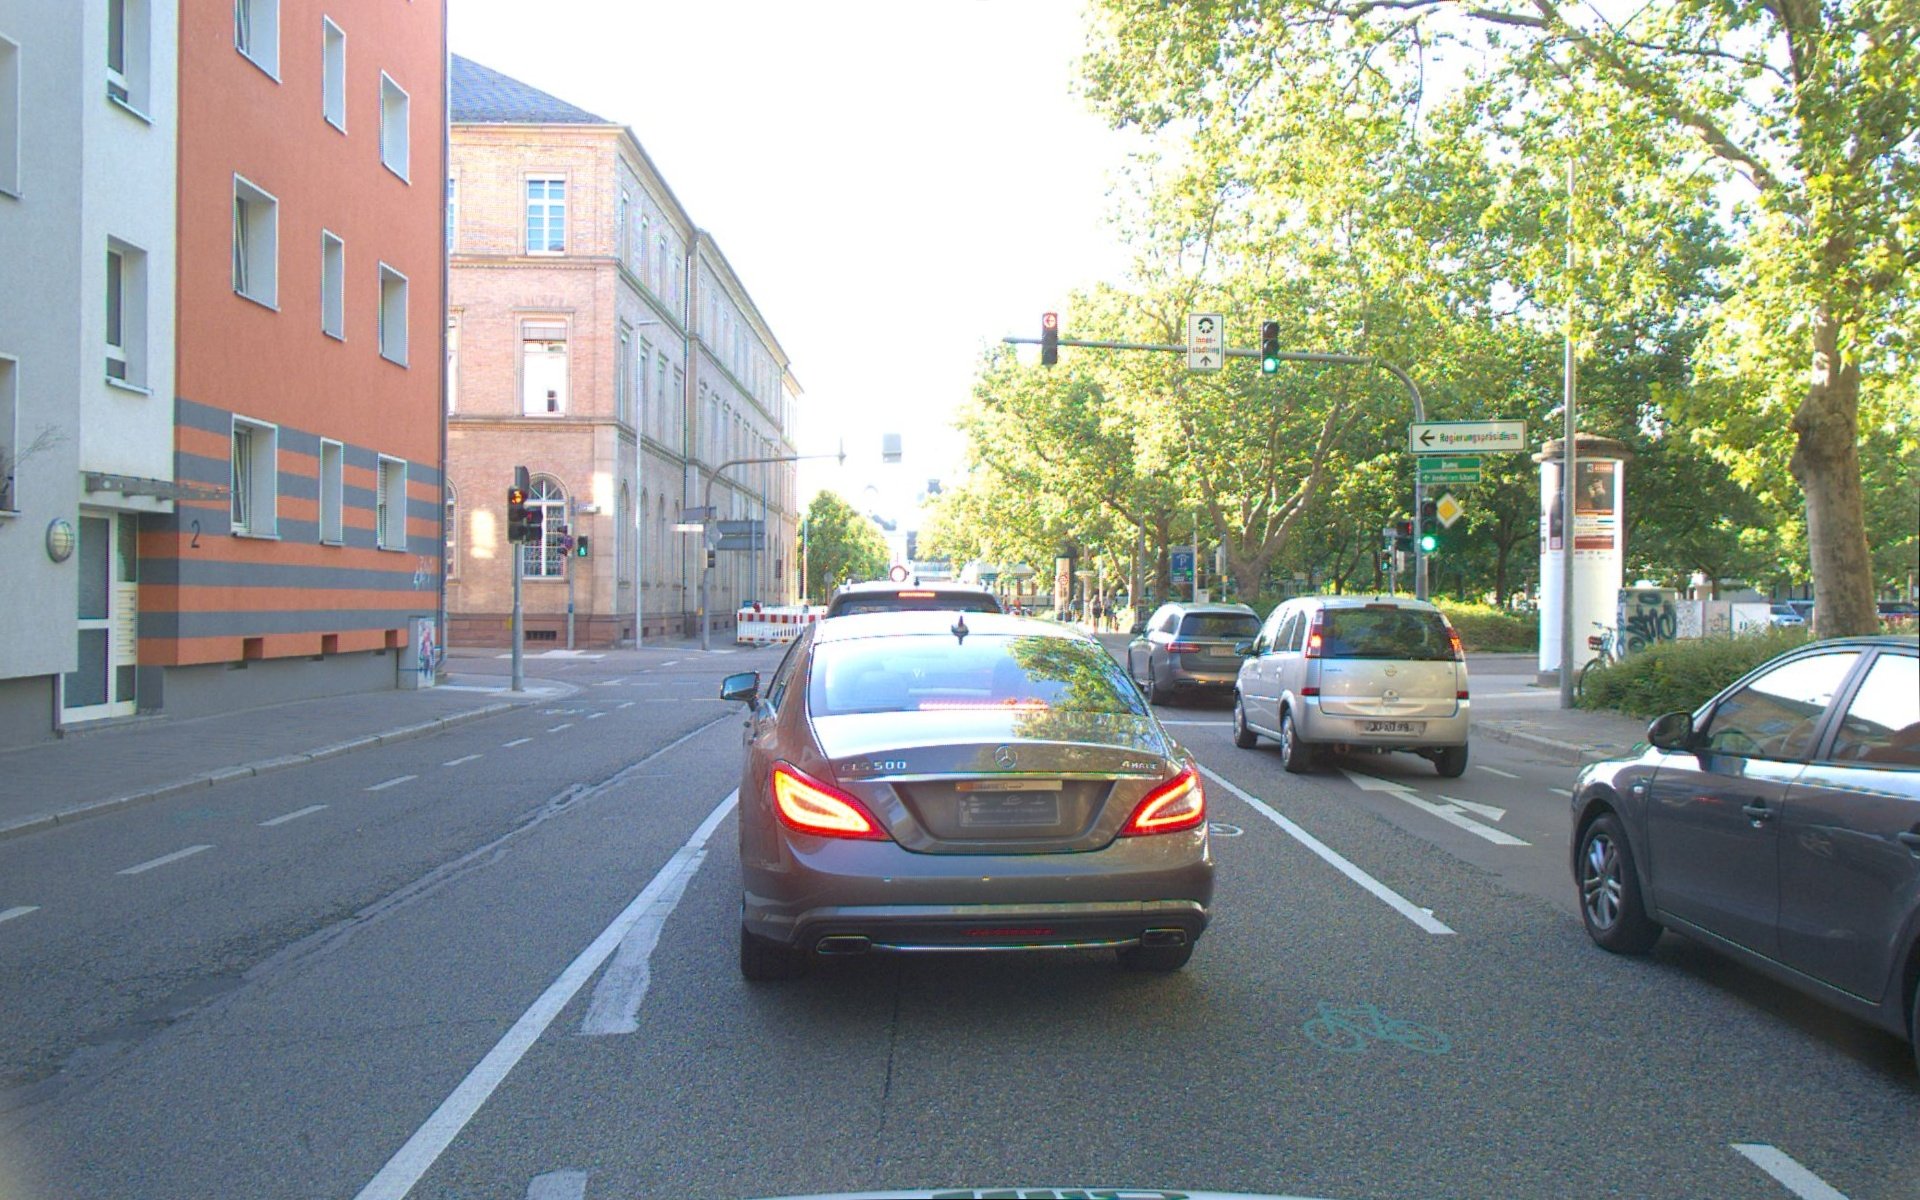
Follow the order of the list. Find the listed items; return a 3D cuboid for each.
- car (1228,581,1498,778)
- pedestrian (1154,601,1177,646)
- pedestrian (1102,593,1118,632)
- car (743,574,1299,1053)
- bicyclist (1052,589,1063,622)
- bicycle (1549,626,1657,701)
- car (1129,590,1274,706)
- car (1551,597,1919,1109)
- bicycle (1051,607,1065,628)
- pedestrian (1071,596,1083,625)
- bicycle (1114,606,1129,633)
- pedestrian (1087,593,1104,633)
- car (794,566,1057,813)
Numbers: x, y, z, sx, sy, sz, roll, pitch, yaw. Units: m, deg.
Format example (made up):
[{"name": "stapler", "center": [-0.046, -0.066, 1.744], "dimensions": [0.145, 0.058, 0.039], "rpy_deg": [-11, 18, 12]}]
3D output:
[{"name": "car", "center": [3.819, 0.698, 16.271], "dimensions": [1.696, 1.691, 3.680], "rpy_deg": [1, 0, -1]}, {"name": "pedestrian", "center": [7.282, 0.826, 58.740], "dimensions": [0.623, 1.572, 0.909], "rpy_deg": [1, 0, -5]}, {"name": "pedestrian", "center": [6.949, 0.576, 76.755], "dimensions": [0.623, 1.791, 0.698], "rpy_deg": [1, -1, -5]}, {"name": "car", "center": [-0.034, 0.690, 7.461], "dimensions": [1.826, 1.545, 3.993], "rpy_deg": [1, 0, -8]}, {"name": "bicyclist", "center": [6.202, 0.328, 105.104], "dimensions": [0.583, 2.075, 0.565], "rpy_deg": [1, -1, -5]}, {"name": "bicycle", "center": [9.406, 0.916, 24.168], "dimensions": [1.868, 1.046, 0.633], "rpy_deg": [1, -1, -39]}, {"name": "car", "center": [3.544, 0.673, 24.804], "dimensions": [1.568, 1.576, 3.680], "rpy_deg": [1, 0, -1]}, {"name": "car", "center": [3.728, 0.773, 6.020], "dimensions": [1.670, 1.545, 3.999], "rpy_deg": [1, 0, -1]}, {"name": "bicycle", "center": [6.211, 1.114, 105.074], "dimensions": [0.580, 1.285, 1.804], "rpy_deg": [1, 0, -5]}, {"name": "pedestrian", "center": [6.235, 0.562, 88.265], "dimensions": [0.545, 1.535, 0.345], "rpy_deg": [1, -1, -5]}, {"name": "bicycle", "center": [7.482, 0.882, 76.583], "dimensions": [0.472, 1.223, 1.606], "rpy_deg": [1, 0, -1]}, {"name": "pedestrian", "center": [6.286, 0.600, 76.776], "dimensions": [0.623, 1.828, 0.698], "rpy_deg": [1, -1, -5]}, {"name": "car", "center": [-0.271, 0.620, 13.589], "dimensions": [1.823, 1.712, 3.999], "rpy_deg": [1, 0, -1]}]
